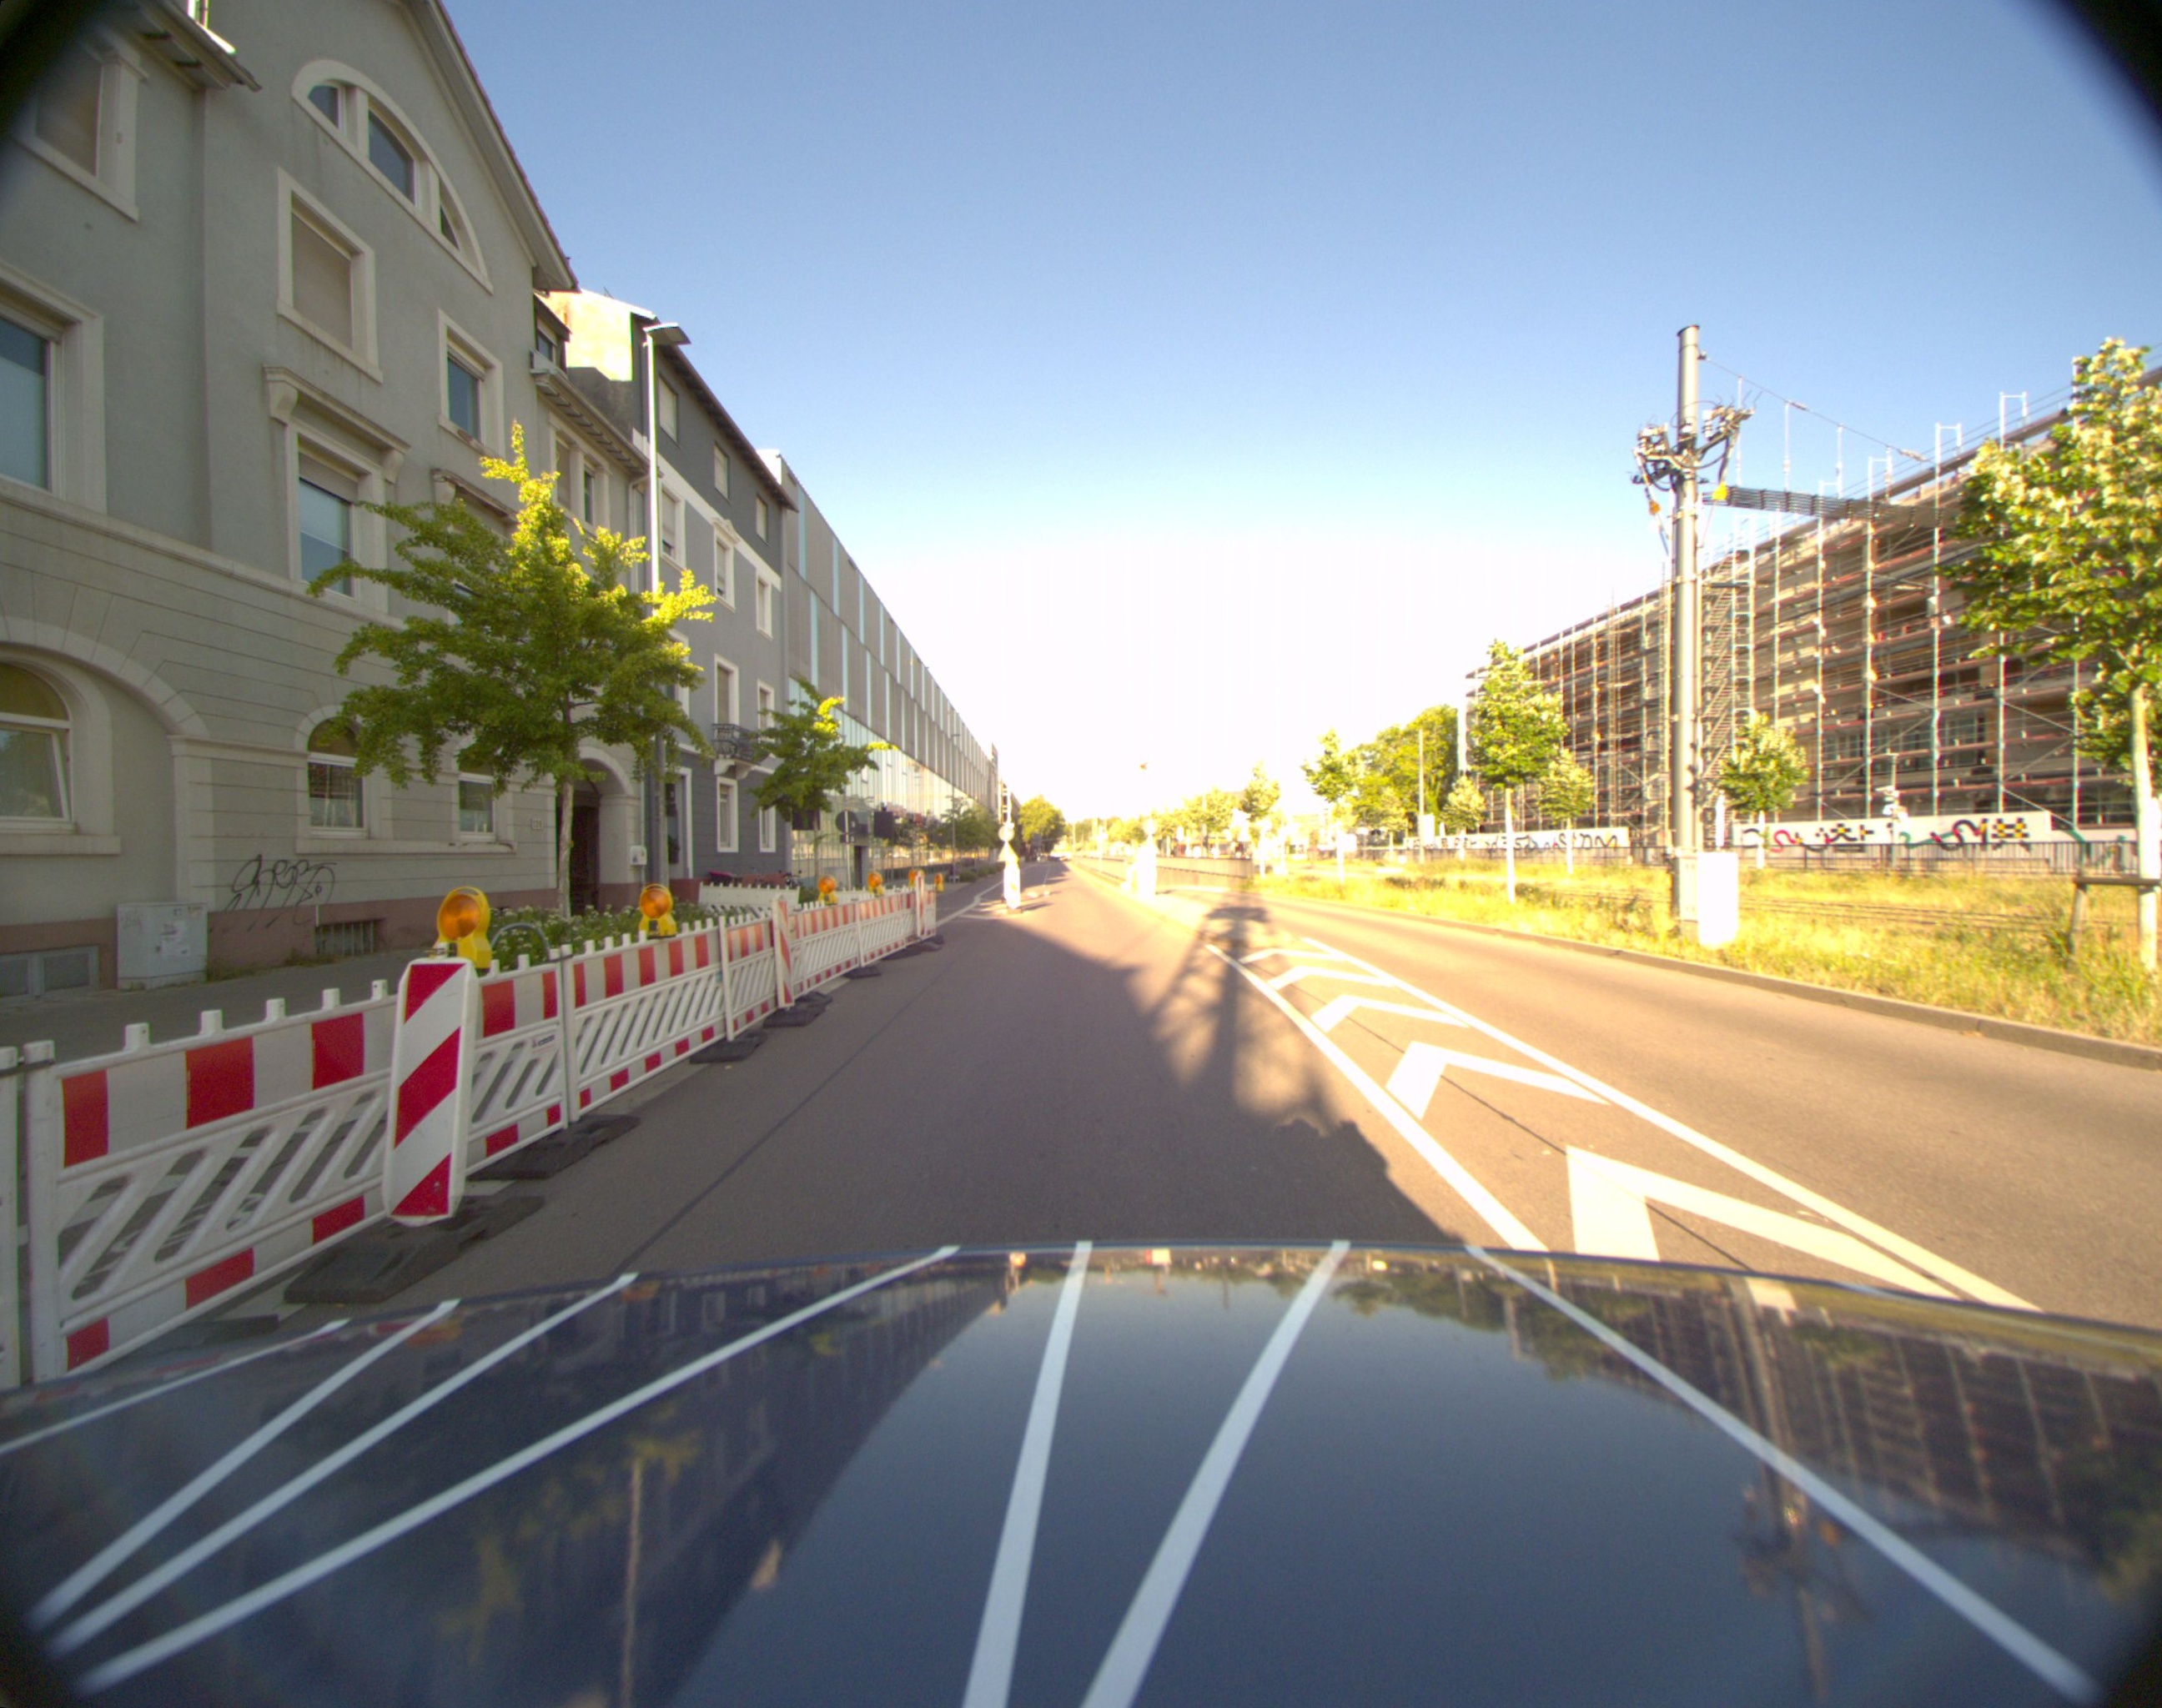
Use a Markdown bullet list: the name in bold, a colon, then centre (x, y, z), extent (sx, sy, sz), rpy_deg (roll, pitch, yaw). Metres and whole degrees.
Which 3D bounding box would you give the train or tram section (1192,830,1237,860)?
- **train or tram section**: centre (16.417, -1.100, 94.293), extent (2.954, 3.378, 12.630), rpy_deg (-2, 1, -2)

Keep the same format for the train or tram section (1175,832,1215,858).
- **train or tram section**: centre (16.037, -1.230, 107.951), extent (2.954, 3.378, 14.761), rpy_deg (-2, 1, -2)

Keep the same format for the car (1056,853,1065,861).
- **car**: centre (-5.107, 0.790, 187.115), extent (1.941, 2.002, 3.825), rpy_deg (-1, 0, -3)

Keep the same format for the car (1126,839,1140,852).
- **car**: centre (8.664, -1.444, 127.186), extent (1.998, 2.002, 3.999), rpy_deg (-2, 1, 1)
